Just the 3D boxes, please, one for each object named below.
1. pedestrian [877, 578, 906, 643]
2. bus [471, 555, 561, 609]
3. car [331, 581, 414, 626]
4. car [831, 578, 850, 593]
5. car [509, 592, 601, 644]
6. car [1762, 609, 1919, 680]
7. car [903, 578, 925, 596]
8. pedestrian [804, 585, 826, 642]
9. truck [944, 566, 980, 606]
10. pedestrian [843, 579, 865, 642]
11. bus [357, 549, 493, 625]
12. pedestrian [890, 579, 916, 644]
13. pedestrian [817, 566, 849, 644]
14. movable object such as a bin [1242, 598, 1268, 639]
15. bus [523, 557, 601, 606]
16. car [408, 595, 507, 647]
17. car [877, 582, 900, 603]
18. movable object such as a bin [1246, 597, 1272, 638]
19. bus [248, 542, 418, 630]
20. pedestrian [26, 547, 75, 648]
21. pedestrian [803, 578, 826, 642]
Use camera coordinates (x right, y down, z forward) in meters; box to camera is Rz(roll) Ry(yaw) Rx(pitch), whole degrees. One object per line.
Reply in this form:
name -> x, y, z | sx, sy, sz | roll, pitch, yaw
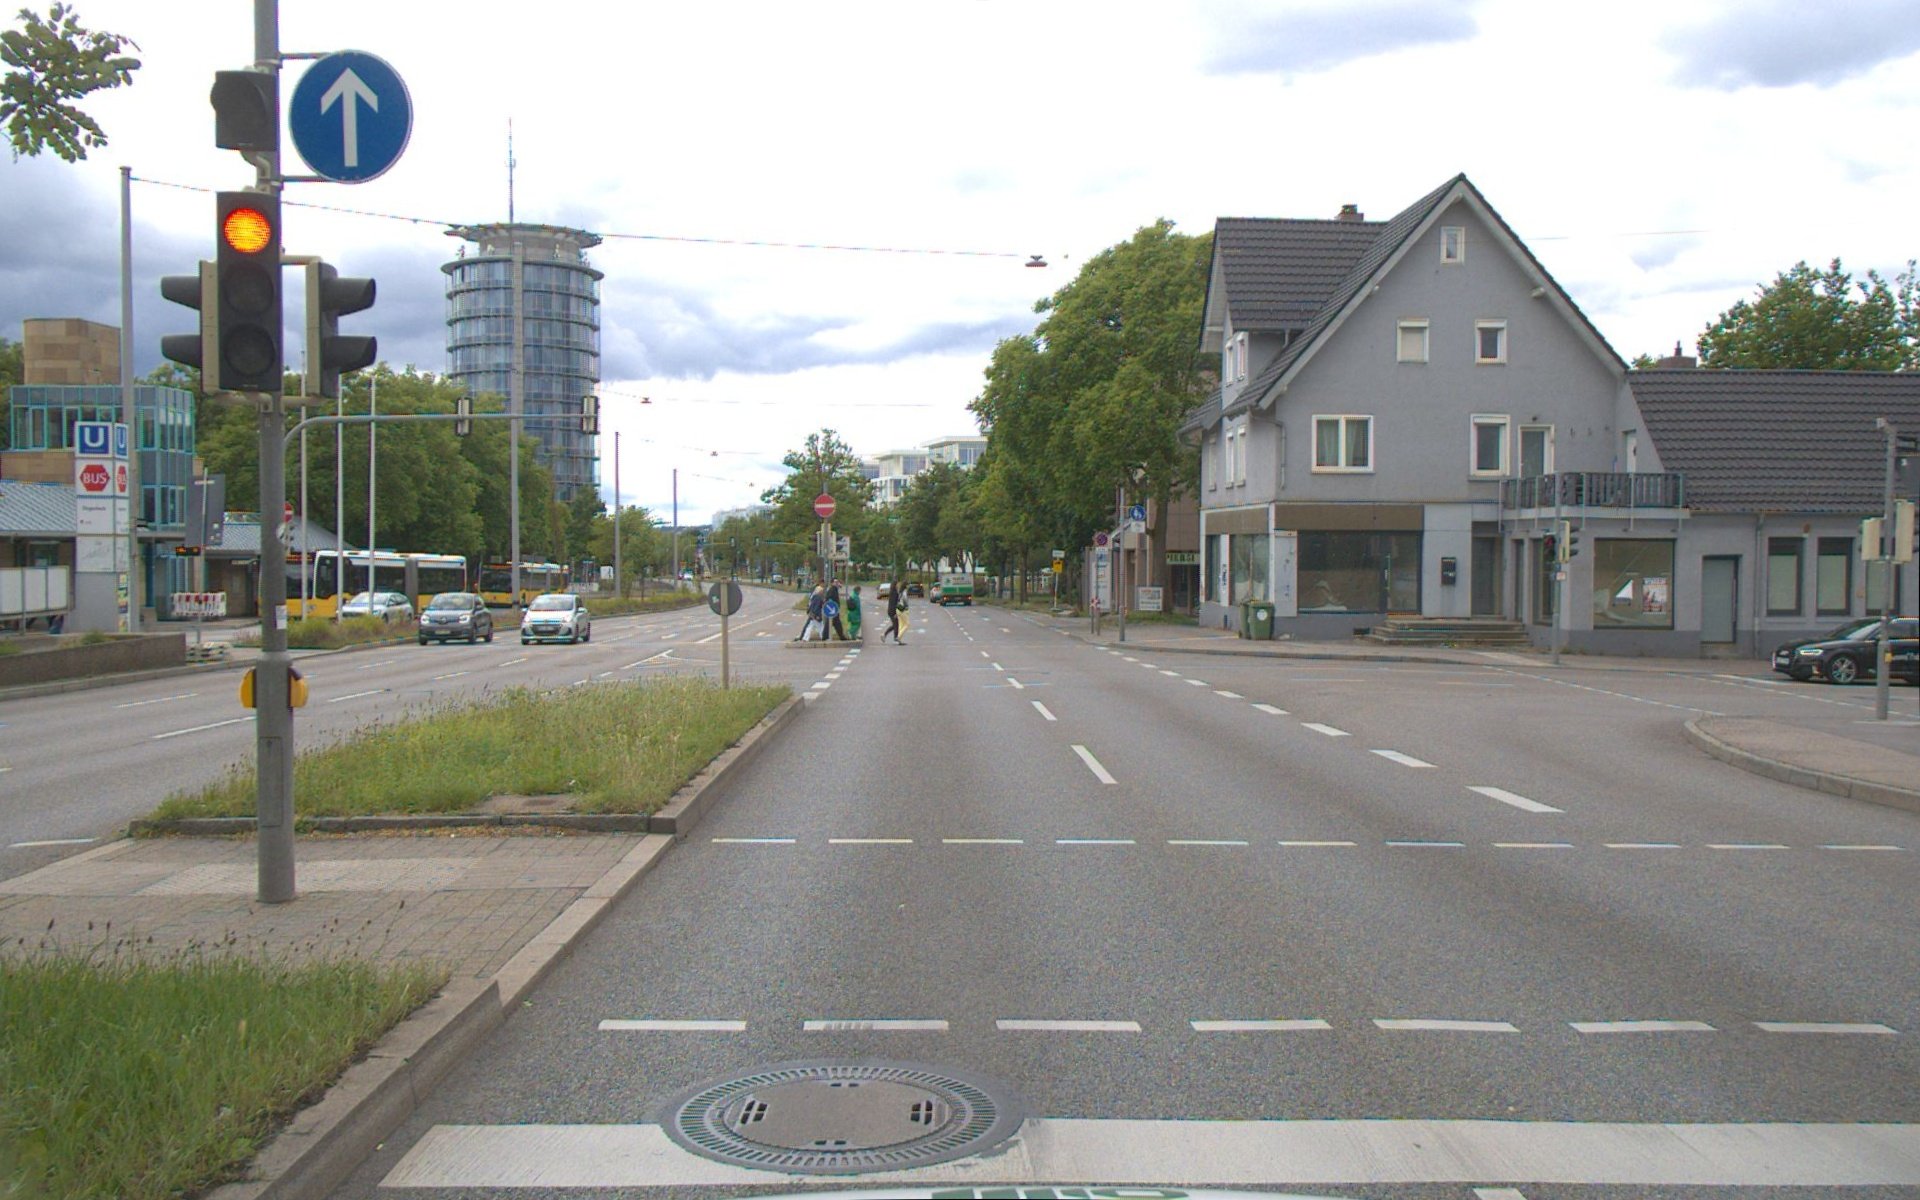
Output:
pedestrian -> -1.866, 0.287, 44.851 | 0.731, 1.746, 0.582 | 0, 0, -8
bus -> -30.373, -1.187, 113.640 | 2.772, 3.490, 10.737 | 0, 0, 3
car -> -22.721, 0.118, 64.104 | 1.769, 1.691, 4.000 | 0, 0, 0
car -> -12.741, -1.581, 175.955 | 1.954, 1.545, 3.996 | 0, 1, -5
car -> -12.380, 0.530, 50.744 | 1.953, 1.512, 3.998 | -1, 0, -2
car -> 19.565, 0.956, 35.320 | 4.006, 1.395, 1.799 | 2, 0, -2
car -> -4.241, -1.204, 153.420 | 1.953, 1.579, 3.999 | 1, 0, -1
pedestrian -> -3.896, 0.366, 44.432 | 0.533, 1.522, 0.486 | 0, 0, -9
truck -> 0.100, -1.037, 116.382 | 2.420, 2.656, 6.548 | 1, 1, 0
pedestrian -> -2.970, 0.278, 46.181 | 0.572, 1.746, 0.545 | 0, 0, -8
bus -> -26.444, -0.634, 82.466 | 2.772, 3.490, 10.737 | 0, 0, 3
pedestrian -> -1.541, 0.306, 44.379 | 0.641, 1.746, 0.451 | 0, 0, -8
pedestrian -> -3.350, 0.136, 43.664 | 0.814, 2.049, 0.545 | 0, 0, -8
movable object such as a bin -> 7.941, 0.498, 44.549 | 0.603, 1.061, 0.589 | 1, 0, 1
bus -> -29.808, -1.332, 124.390 | 2.772, 3.490, 10.737 | 0, 0, 3
car -> -15.474, 0.609, 51.126 | 1.953, 1.512, 3.998 | -1, 0, -2
car -> -6.380, -0.672, 147.961 | 1.953, 1.862, 3.999 | 0, 0, -1
movable object such as a bin -> 7.955, 0.457, 44.027 | 0.592, 1.078, 0.589 | 1, 0, 1
bus -> -27.009, -0.584, 71.945 | 2.772, 3.490, 10.737 | 0, 0, 3
pedestrian -> -18.662, -0.060, 33.945 | 0.668, 2.049, 0.645 | 0, 0, -5
pedestrian -> -3.973, 0.267, 45.056 | 0.601, 1.746, 0.545 | 0, 0, -8
